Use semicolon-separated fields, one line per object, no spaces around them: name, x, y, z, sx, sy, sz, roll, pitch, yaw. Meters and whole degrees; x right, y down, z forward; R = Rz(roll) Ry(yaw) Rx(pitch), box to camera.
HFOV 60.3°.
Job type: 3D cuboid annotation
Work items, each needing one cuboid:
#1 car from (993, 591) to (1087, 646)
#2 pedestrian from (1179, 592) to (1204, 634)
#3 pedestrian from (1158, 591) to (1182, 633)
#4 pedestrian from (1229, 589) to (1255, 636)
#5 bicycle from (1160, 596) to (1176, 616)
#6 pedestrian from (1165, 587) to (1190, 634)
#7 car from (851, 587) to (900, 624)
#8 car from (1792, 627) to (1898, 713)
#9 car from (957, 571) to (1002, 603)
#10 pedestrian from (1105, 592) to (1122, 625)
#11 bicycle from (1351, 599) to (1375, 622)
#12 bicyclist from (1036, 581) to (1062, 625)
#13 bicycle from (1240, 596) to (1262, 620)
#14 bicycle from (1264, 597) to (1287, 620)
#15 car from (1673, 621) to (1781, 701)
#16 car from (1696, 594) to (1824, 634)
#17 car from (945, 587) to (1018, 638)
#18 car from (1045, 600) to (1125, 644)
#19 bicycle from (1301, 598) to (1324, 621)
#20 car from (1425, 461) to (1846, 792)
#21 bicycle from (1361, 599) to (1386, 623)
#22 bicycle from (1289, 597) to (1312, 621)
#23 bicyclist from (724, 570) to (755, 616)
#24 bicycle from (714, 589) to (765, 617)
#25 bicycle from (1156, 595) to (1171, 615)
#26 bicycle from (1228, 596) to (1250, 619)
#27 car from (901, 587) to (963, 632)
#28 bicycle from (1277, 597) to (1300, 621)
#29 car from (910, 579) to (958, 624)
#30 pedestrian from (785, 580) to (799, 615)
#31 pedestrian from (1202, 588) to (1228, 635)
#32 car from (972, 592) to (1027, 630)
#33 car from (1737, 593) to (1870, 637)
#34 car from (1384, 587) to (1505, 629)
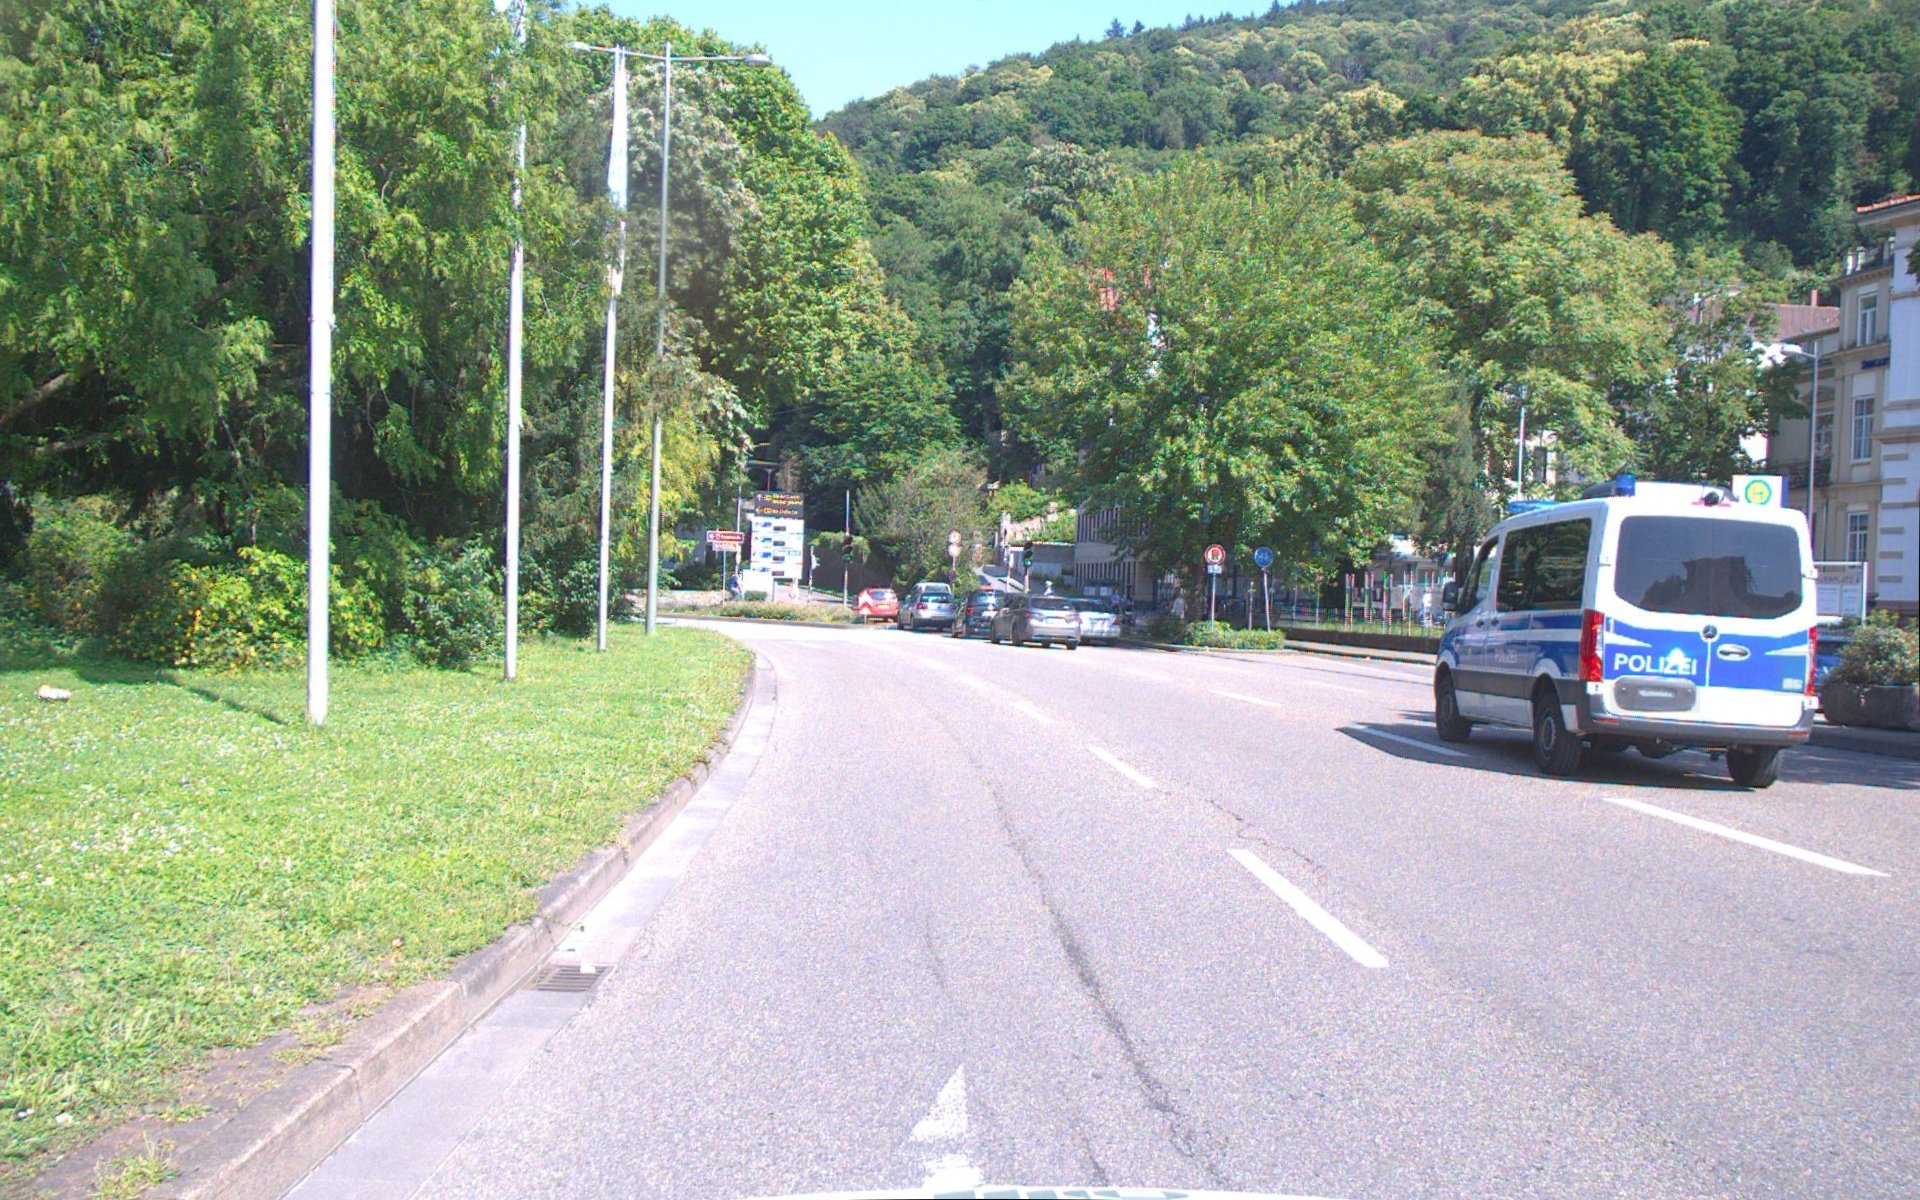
car;2.136;0.476;45.380;1.724;1.357;3.792;2;1;-10
pedestrian;9.507;0.542;67.961;0.756;1.691;0.828;2;0;-8
pedestrian;8.701;0.493;68.629;0.756;1.691;0.828;2;0;-8
pedestrian;11.531;0.514;67.725;0.757;1.886;0.827;2;0;-10
bicycle;10.478;0.292;83.339;0.397;0.957;1.339;1;1;-8
pedestrian;8.869;0.428;67.486;0.756;1.886;0.828;2;0;-9
car;-3.735;0.233;72.544;1.724;1.486;3.486;2;0;-9
car;17.186;1.310;32.188;1.675;1.467;3.806;3;0;28
car;1.076;-0.713;93.510;1.896;1.726;3.991;1;0;-9
pedestrian;7.051;0.403;76.060;0.482;1.483;0.730;1;0;-21
bicycle;19.678;0.511;80.833;0.527;1.104;1.832;1;1;-7
bicyclist;4.076;0.134;75.757;1.102;1.966;0.748;2;0;3
bicycle;14.164;0.380;80.453;0.527;1.104;1.832;1;1;-7
bicycle;15.359;0.408;80.512;0.527;1.104;1.832;1;1;-7
car;16.365;1.257;35.201;1.677;1.538;3.803;3;0;31
car;29.811;0.504;61.653;4.004;1.359;1.816;2;0;-12
car;0.644;0.381;52.860;1.724;1.486;3.486;2;0;-9
car;3.892;0.675;51.990;1.724;1.234;3.486;2;1;-9
bicycle;17.223;0.453;80.817;0.527;1.104;1.832;1;1;-7
car;6.081;0.210;15.670;2.030;2.552;4.930;2;0;2
bicycle;20.256;0.525;80.987;0.527;1.104;1.832;1;1;-7
bicycle;16.596;0.438;80.713;0.527;1.104;1.832;1;1;-7
bicyclist;-9.704;-0.300;72.805;1.102;1.966;0.749;2;0;16
bicycle;-9.701;0.119;72.804;2.032;1.132;0.757;2;0;16
bicycle;10.479;0.253;85.352;0.397;1.030;1.339;1;1;-8
bicycle;13.538;0.365;80.376;0.527;1.104;1.832;1;1;-7
car;-1.057;0.324;60.321;1.724;1.486;3.638;2;0;-9
bicycle;16.017;0.424;80.612;0.527;1.104;1.832;1;1;-7
car;-1.235;0.041;77.523;1.724;1.971;3.486;2;0;-9
pedestrian;-7.967;-0.124;78.453;0.535;1.649;0.634;1;1;0
pedestrian;10.372;0.460;67.293;0.757;1.886;0.827;2;0;-10
car;1.682;0.451;71.749;1.724;1.486;3.486;2;0;-9
car;30.037;0.536;58.944;3.977;1.444;1.816;2;0;-12
car;18.585;0.299;63.506;4.072;1.501;1.871;1;0;-14
